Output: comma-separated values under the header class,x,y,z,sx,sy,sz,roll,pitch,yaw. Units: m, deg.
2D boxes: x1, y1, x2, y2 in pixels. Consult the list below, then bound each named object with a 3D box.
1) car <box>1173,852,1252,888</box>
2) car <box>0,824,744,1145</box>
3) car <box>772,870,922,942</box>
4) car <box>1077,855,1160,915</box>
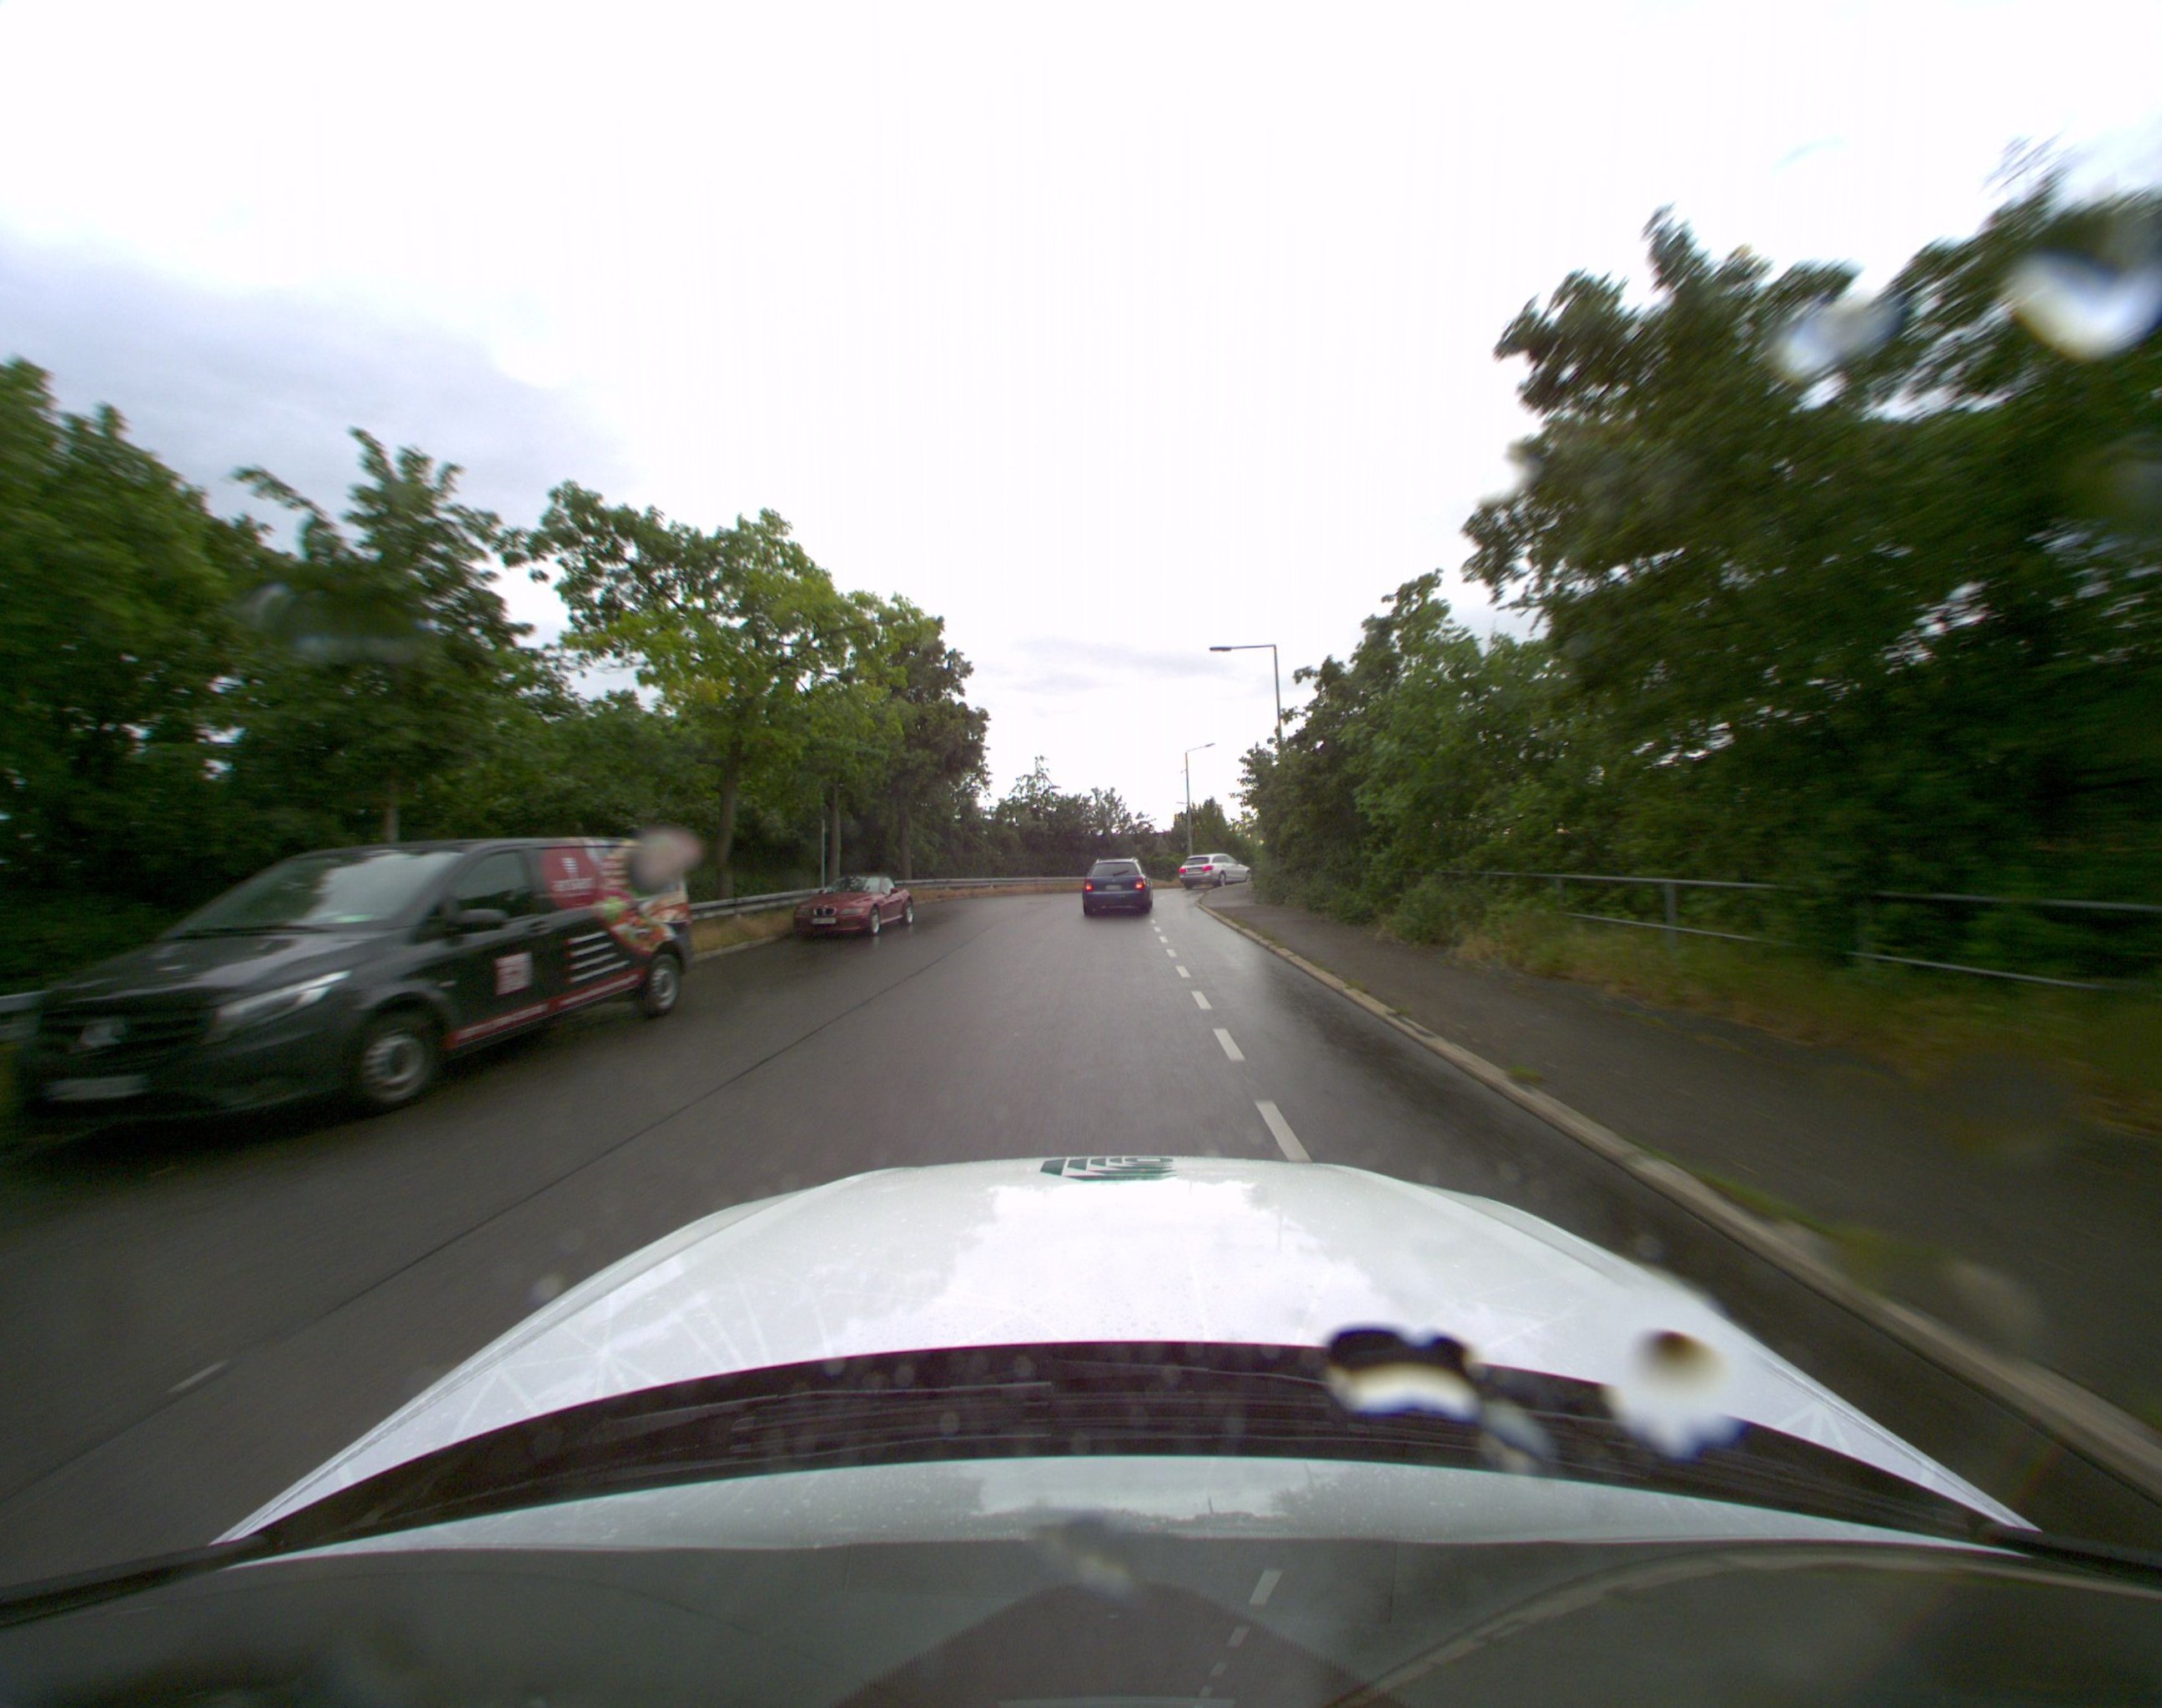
class,x,y,z,sx,sy,sz,roll,pitch,yaw
car,5.860,0.680,35.951,1.872,1.389,4.026,-3,-1,34
car,-5.417,0.801,7.519,2.075,1.819,5.384,-3,-1,3
car,-5.063,1.067,18.293,1.781,1.297,4.331,-3,-1,4
car,1.116,0.772,22.360,1.736,1.407,4.011,-1,1,10
